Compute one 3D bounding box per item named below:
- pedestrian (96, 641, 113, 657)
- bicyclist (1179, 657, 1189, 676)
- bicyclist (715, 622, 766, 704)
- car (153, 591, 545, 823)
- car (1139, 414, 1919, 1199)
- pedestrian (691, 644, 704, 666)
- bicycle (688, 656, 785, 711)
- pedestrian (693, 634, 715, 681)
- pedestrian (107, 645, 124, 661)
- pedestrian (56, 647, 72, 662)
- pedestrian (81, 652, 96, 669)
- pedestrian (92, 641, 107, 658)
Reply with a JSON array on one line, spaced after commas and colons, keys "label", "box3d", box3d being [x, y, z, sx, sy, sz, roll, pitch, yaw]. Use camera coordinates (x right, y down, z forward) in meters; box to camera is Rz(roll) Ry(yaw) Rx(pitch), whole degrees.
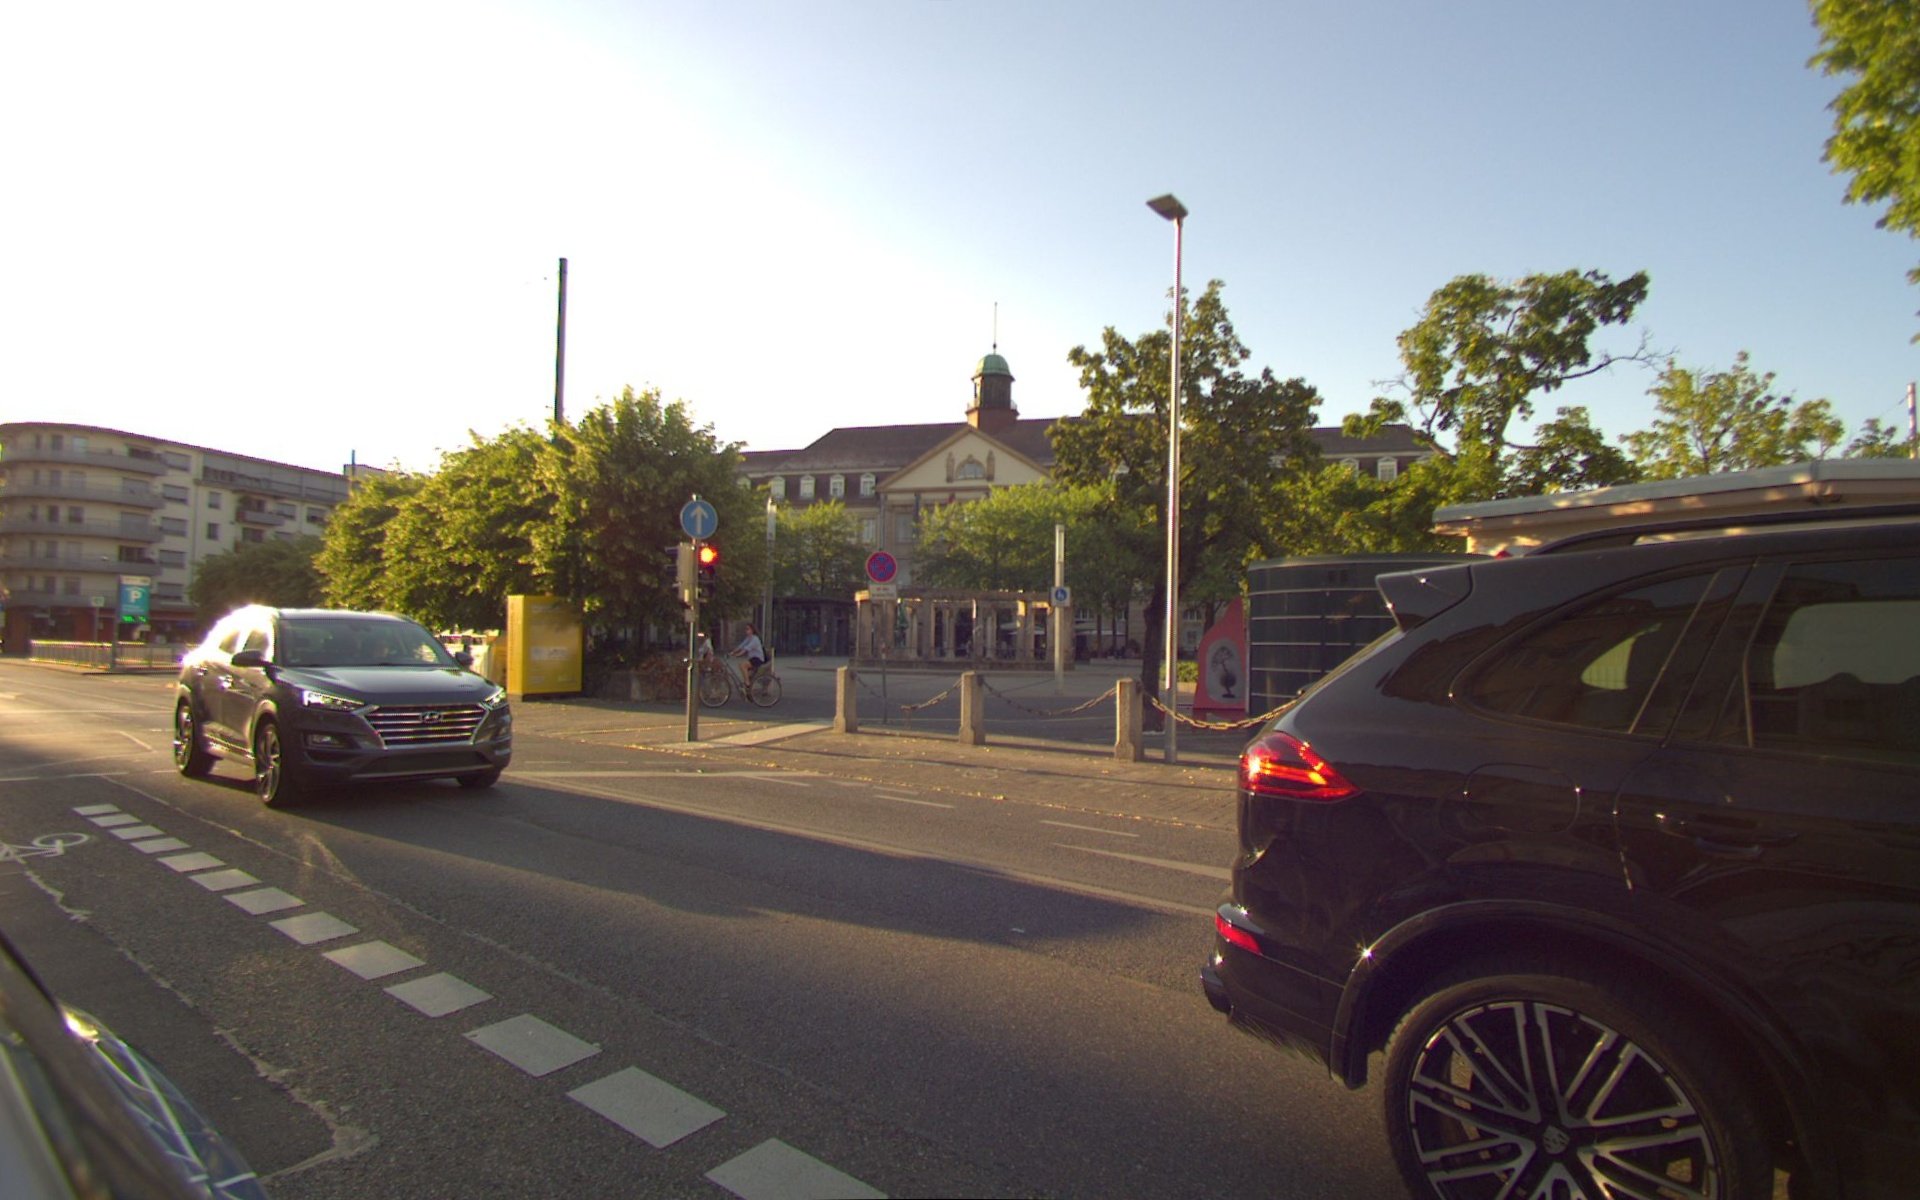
[{"label": "pedestrian", "box3d": [-69.675, 4.001, 82.393, 0.814, 1.332, 0.684, -1, -3, 16]}, {"label": "bicyclist", "box3d": [18.471, 5.476, 83.325, 0.764, 1.459, 0.637, 0, -2, 17]}, {"label": "bicyclist", "box3d": [-4.760, 1.360, 21.916, 0.766, 1.737, 0.857, 3, -4, -35]}, {"label": "car", "box3d": [-5.939, 0.905, 9.607, 4.447, 1.702, 1.853, -2, -5, 41]}, {"label": "car", "box3d": [2.811, 0.583, 1.877, 4.558, 1.727, 1.928, -2, -5, 41]}, {"label": "pedestrian", "box3d": [-13.066, 2.742, 50.403, 0.454, 1.071, 0.531, 0, -4, -30]}, {"label": "bicycle", "box3d": [-4.815, 1.796, 21.856, 1.889, 1.126, 0.707, 3, -4, -33]}, {"label": "pedestrian", "box3d": [-9.012, 2.025, 35.614, 0.693, 1.633, 0.843, 1, -2, -15]}, {"label": "pedestrian", "box3d": [-68.407, 4.280, 82.019, 0.884, 1.332, 0.726, -1, -3, 27]}, {"label": "pedestrian", "box3d": [-69.593, 4.235, 78.647, 0.875, 1.201, 0.734, 3, -4, -40]}, {"label": "pedestrian", "box3d": [-69.302, 4.783, 80.488, 0.888, 1.332, 0.723, -2, -4, 39]}, {"label": "pedestrian", "box3d": [-69.041, 3.989, 81.195, 0.887, 1.332, 0.724, -2, -4, 38]}]
